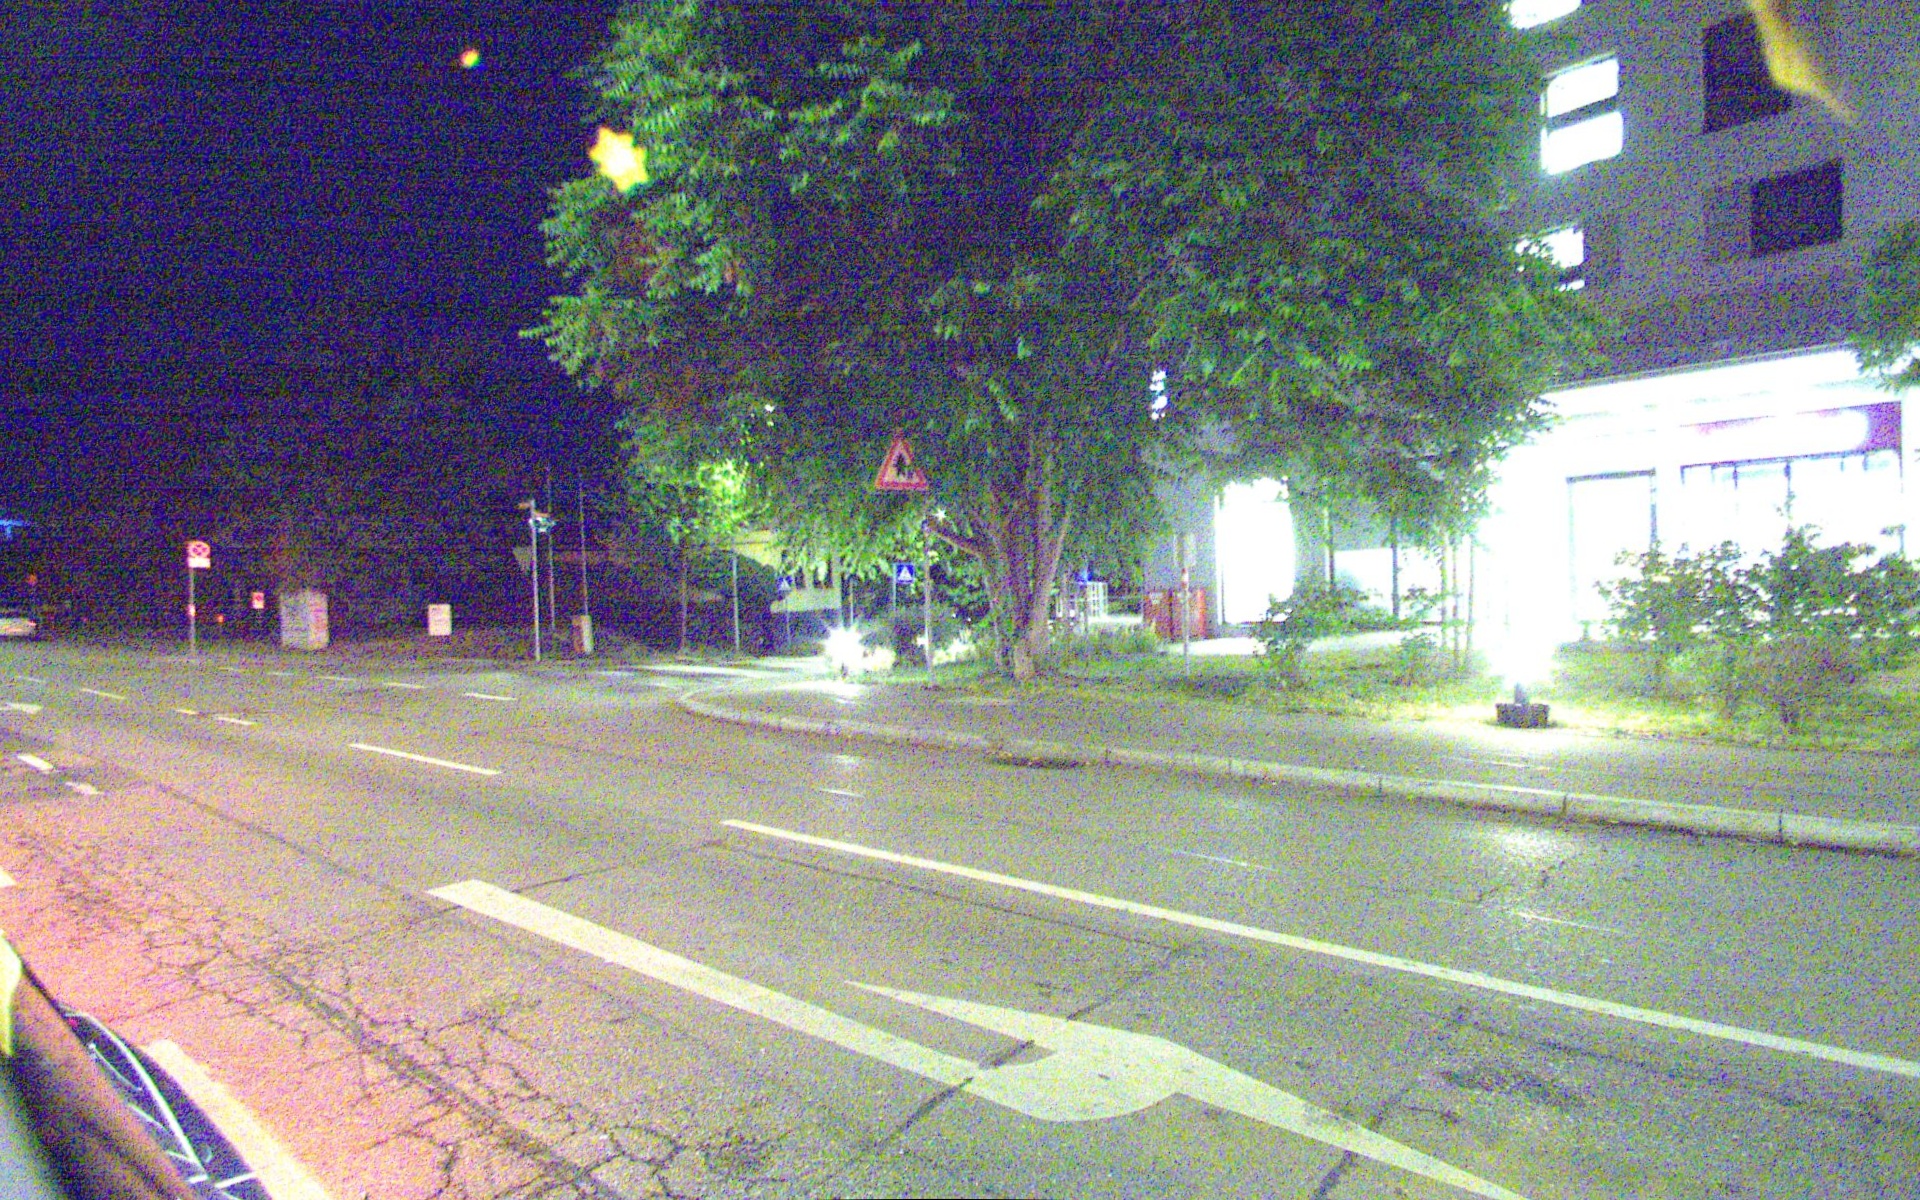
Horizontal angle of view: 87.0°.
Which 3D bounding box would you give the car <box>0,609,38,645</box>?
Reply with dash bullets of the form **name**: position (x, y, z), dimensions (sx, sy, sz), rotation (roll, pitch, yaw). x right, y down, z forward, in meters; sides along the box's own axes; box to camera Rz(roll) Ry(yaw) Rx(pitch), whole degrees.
- **car**: position (-43.275, 1.186, 45.792), dimensions (3.998, 1.464, 1.887), rotation (1, 2, 41)
